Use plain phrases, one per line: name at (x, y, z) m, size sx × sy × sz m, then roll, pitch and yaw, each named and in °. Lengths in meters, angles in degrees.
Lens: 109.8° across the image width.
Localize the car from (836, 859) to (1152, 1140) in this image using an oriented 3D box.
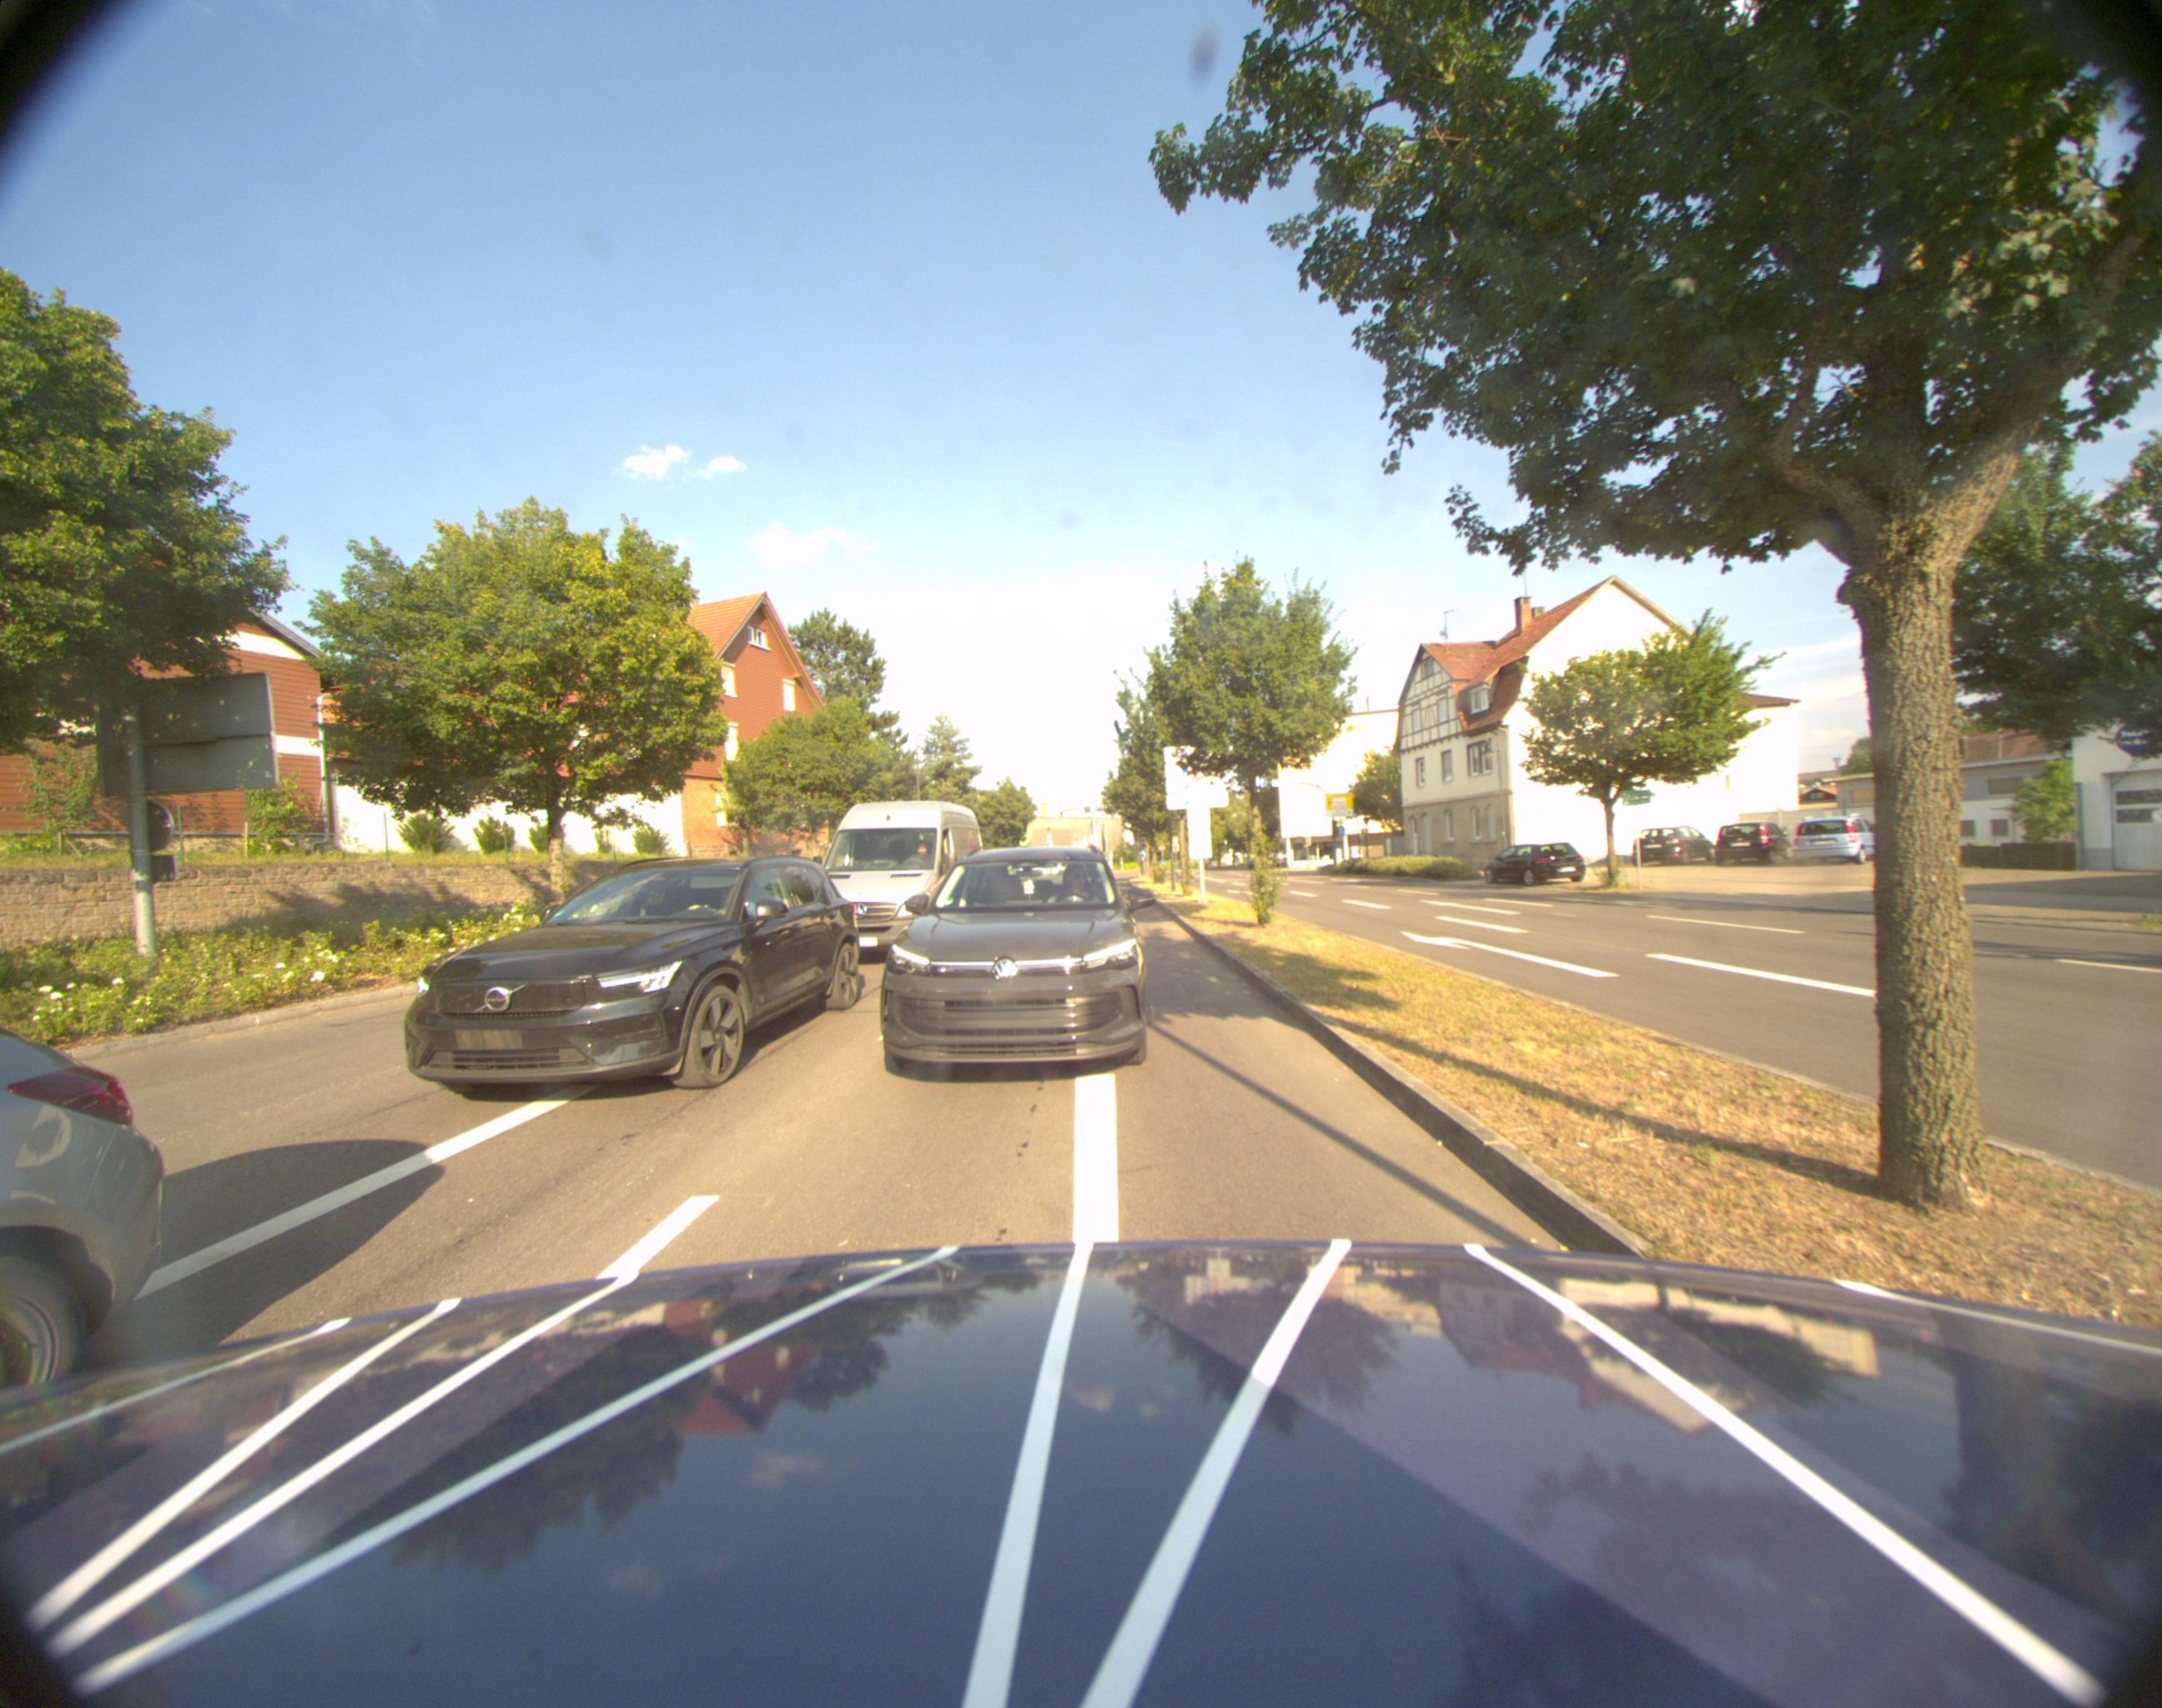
car at (-0.453, 0.875, 6.625) m, size 1.845 × 1.600 × 4.318 m, roll -1°, pitch 0°, yaw 2°

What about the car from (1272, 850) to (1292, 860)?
car at (35.863, 0.138, 135.469) m, size 1.778 × 1.683 × 4.008 m, roll -2°, pitch 1°, yaw 40°

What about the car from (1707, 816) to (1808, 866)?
car at (24.654, -0.482, 27.665) m, size 3.830 × 1.493 × 1.816 m, roll -5°, pitch 0°, yaw -35°

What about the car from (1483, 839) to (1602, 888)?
car at (16.030, 0.286, 26.626) m, size 1.818 × 1.442 × 3.825 m, roll -5°, pitch 0°, yaw 1°

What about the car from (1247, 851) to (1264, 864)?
car at (24.184, 0.513, 105.191) m, size 1.779 × 1.683 × 4.005 m, roll -2°, pitch 0°, yaw 19°

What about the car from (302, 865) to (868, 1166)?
car at (-3.401, 0.948, 6.436) m, size 1.845 × 1.600 × 4.318 m, roll -1°, pitch 0°, yaw 2°

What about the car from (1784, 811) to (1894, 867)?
car at (24.877, -0.496, 24.899) m, size 3.830 × 1.493 × 1.816 m, roll -5°, pitch 0°, yaw -35°

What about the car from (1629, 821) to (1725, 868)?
car at (23.376, -0.384, 29.761) m, size 3.830 × 1.493 × 1.816 m, roll -5°, pitch 0°, yaw -35°

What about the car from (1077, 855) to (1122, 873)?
car at (1.780, 0.998, 72.909) m, size 3.989 × 1.597 × 1.786 m, roll -2°, pitch 1°, yaw 39°

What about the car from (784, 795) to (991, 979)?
car at (-3.074, 0.454, 13.696) m, size 1.992 × 2.554 × 6.046 m, roll -1°, pitch 0°, yaw 2°

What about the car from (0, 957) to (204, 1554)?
car at (-3.614, 1.062, 0.188) m, size 1.766 × 1.445 × 4.318 m, roll -1°, pitch 0°, yaw 0°
